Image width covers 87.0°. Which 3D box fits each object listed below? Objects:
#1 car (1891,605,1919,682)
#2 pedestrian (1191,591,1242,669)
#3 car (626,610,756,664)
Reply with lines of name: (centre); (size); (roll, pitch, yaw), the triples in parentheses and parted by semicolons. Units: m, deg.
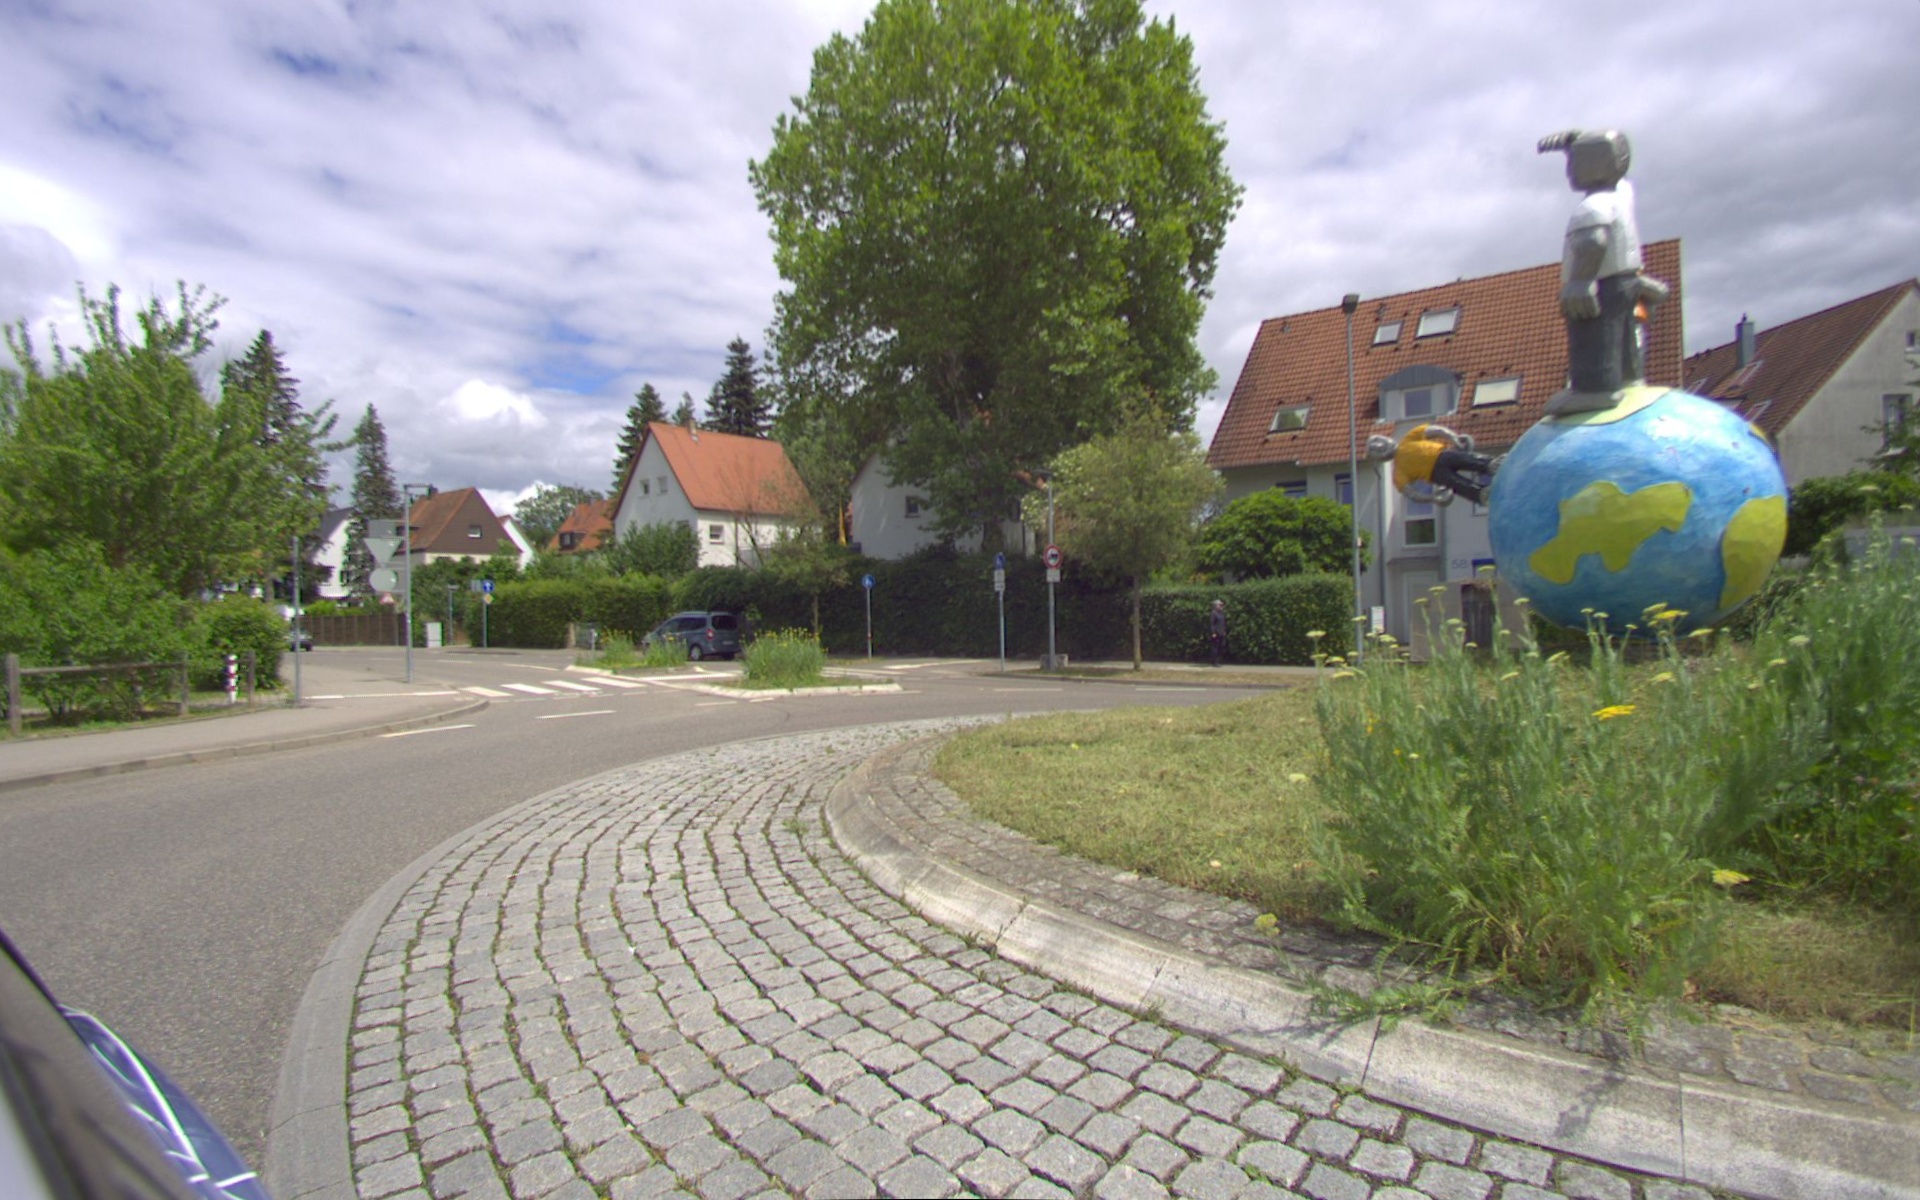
car: (20.502, 0.847, 20.387); (3.936, 1.497, 2.003); (1, -2, -39)
pedestrian: (6.817, 0.796, 26.885); (1.038, 2.029, 0.864); (-2, -2, 34)
car: (-9.972, 1.389, 37.410); (4.448, 1.786, 2.116); (-2, 0, 31)
